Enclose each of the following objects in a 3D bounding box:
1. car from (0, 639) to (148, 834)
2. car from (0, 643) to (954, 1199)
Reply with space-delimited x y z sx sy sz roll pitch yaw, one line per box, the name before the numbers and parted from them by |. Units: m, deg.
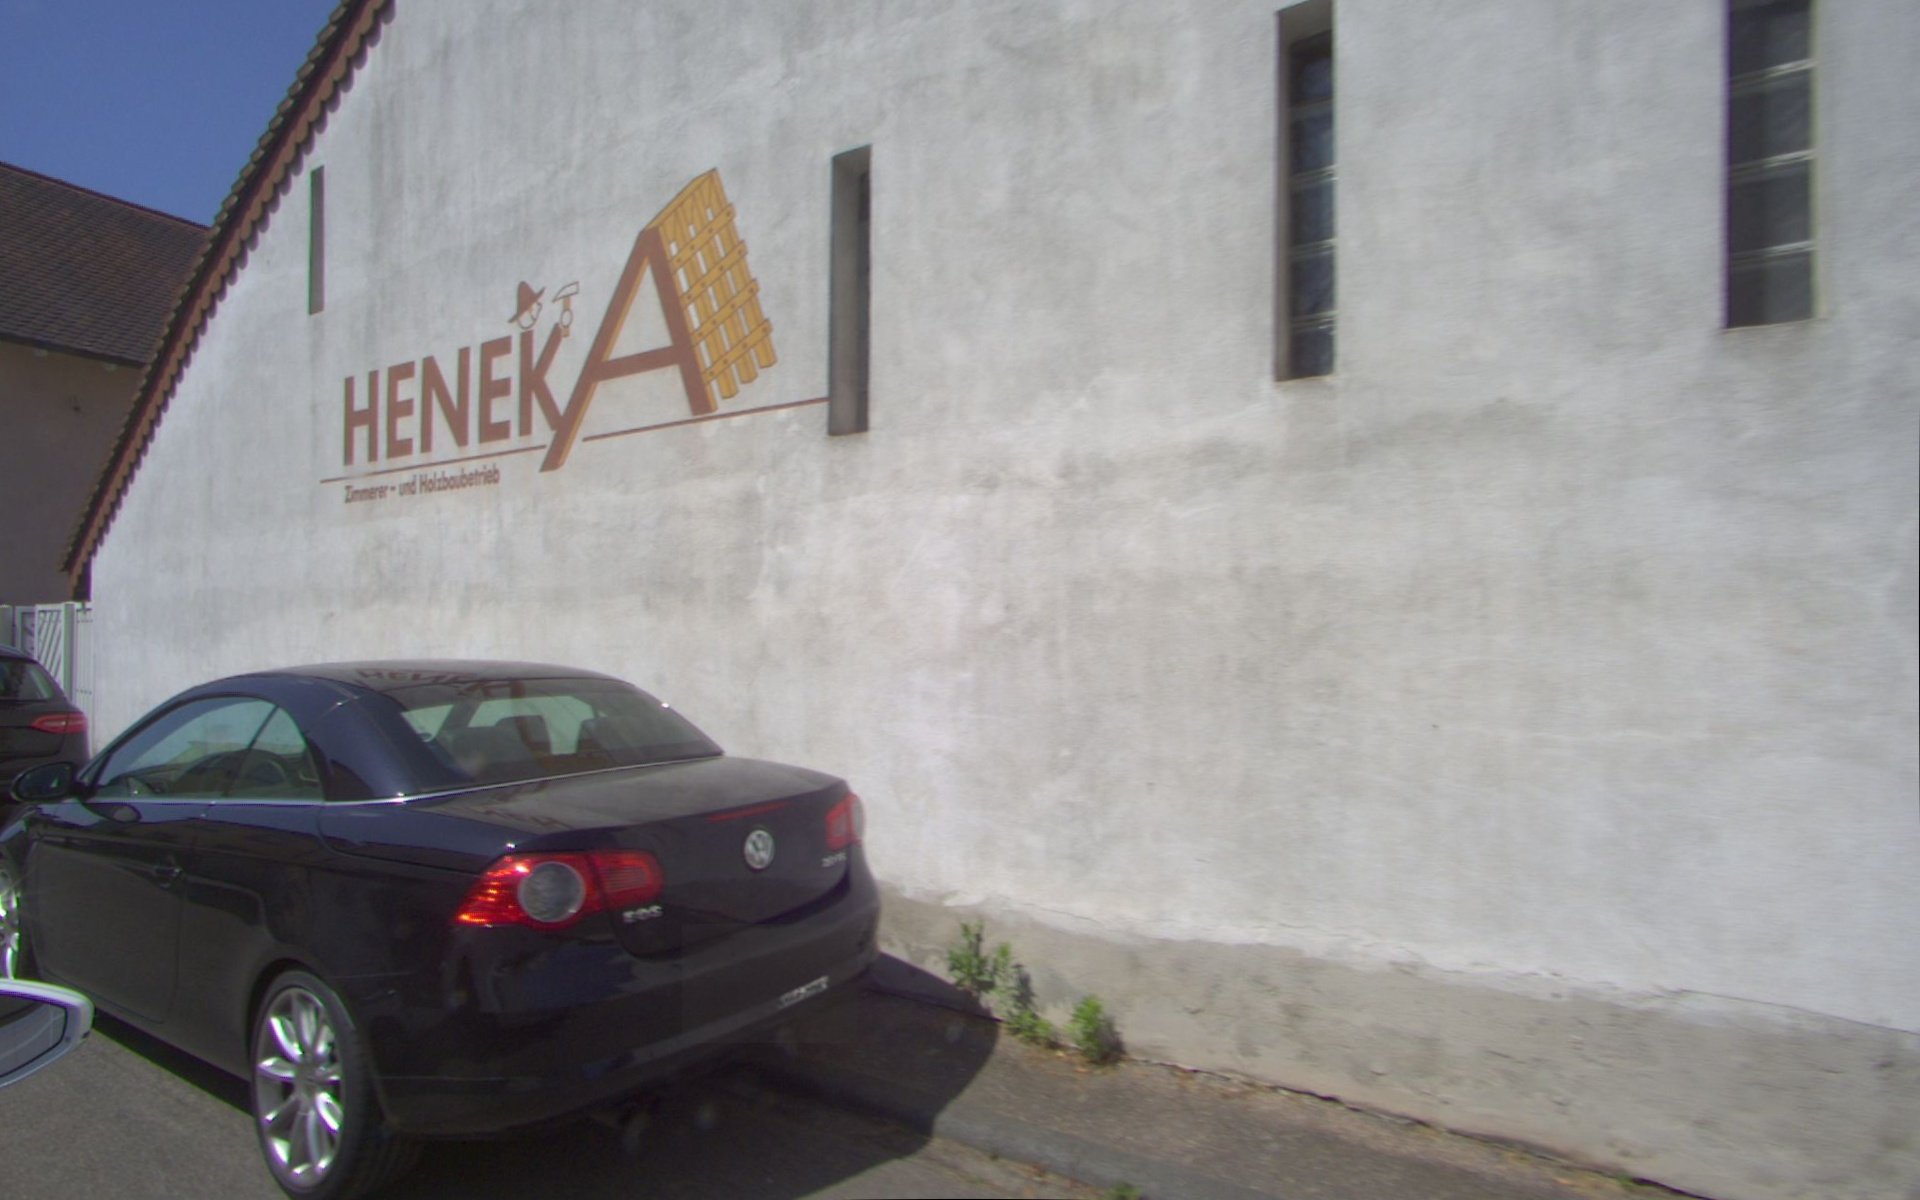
car | -8.938 1.011 8.322 4.667 1.382 1.894 -1 -3 31
car | -2.352 0.891 4.064 4.353 1.382 1.892 -1 -3 33
